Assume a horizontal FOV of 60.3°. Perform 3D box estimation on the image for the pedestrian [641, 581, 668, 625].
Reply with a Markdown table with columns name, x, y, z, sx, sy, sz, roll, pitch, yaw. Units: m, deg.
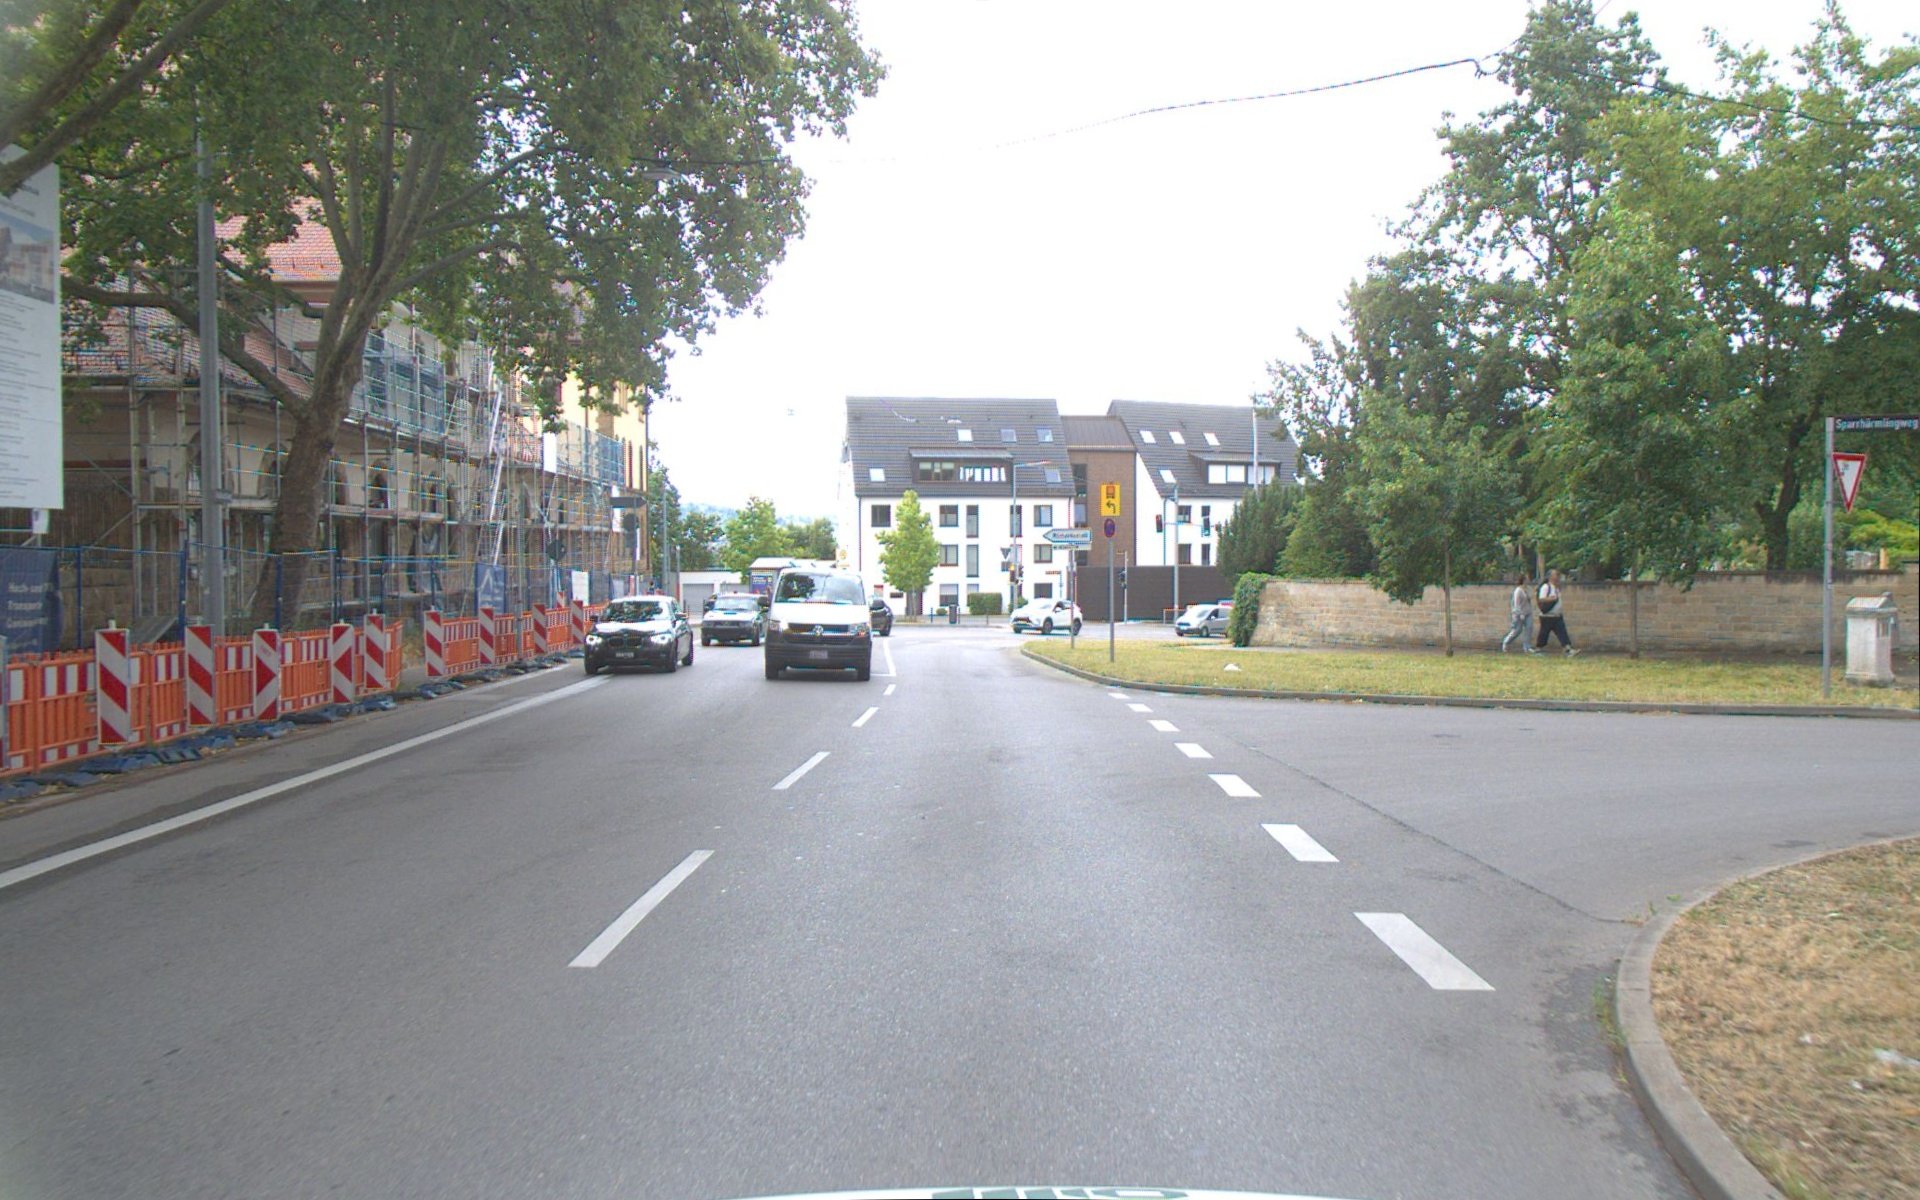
| name | x | y | z | sx | sy | sz | roll | pitch | yaw |
| --- | --- | --- | --- | --- | --- | --- | --- | --- | --- |
| pedestrian | -12.478 | 0.121 | 67.588 | 0.904 | 1.750 | 0.798 | 2 | -1 | 0 |

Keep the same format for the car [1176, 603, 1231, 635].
| name | x | y | z | sx | sy | sz | roll | pitch | yaw |
| --- | --- | --- | --- | --- | --- | --- | --- | --- | --- |
| car | 13.236 | 1.072 | 89.798 | 1.660 | 1.642 | 4.077 | 1 | -1 | 28 |

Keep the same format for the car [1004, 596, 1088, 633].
| name | x | y | z | sx | sy | sz | roll | pitch | yaw |
| --- | --- | --- | --- | --- | --- | --- | --- | --- | --- |
| car | 4.095 | 0.691 | 77.971 | 1.762 | 1.639 | 4.490 | 0 | -2 | 36 |

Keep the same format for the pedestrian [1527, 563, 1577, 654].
| name | x | y | z | sx | sy | sz | roll | pitch | yaw |
| --- | --- | --- | --- | --- | --- | --- | --- | --- | --- |
| pedestrian | 11.680 | 0.157 | 32.636 | 0.704 | 1.764 | 0.652 | -1 | 1 | -36 |

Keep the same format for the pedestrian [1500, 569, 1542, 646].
| name | x | y | z | sx | sy | sz | roll | pitch | yaw |
| --- | --- | --- | --- | --- | --- | --- | --- | --- | --- |
| pedestrian | 12.061 | 0.157 | 35.551 | 0.574 | 1.612 | 0.568 | -3 | 1 | -32 |

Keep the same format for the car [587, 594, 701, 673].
| name | x | y | z | sx | sy | sz | roll | pitch | yaw |
| --- | --- | --- | --- | --- | --- | --- | --- | --- | --- |
| car | -6.223 | 0.611 | 32.954 | 1.665 | 1.451 | 4.246 | -1 | 0 | -3 |

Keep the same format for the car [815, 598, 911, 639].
| name | x | y | z | sx | sy | sz | roll | pitch | yaw |
| --- | --- | --- | --- | --- | --- | --- | --- | --- | --- |
| car | -3.486 | 0.657 | 60.117 | 1.665 | 1.451 | 4.246 | 0 | 0 | 25 |

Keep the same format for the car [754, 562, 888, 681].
| name | x | y | z | sx | sy | sz | roll | pitch | yaw |
| --- | --- | --- | --- | --- | --- | --- | --- | --- | --- |
| car | -2.442 | 0.346 | 30.389 | 2.160 | 1.965 | 5.238 | -1 | 0 | -2 |

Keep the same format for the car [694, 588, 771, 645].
| name | x | y | z | sx | sy | sz | roll | pitch | yaw |
| --- | --- | --- | --- | --- | --- | --- | --- | --- | --- |
| car | -6.358 | 0.431 | 46.611 | 1.766 | 1.483 | 4.633 | -1 | 0 | -3 |
